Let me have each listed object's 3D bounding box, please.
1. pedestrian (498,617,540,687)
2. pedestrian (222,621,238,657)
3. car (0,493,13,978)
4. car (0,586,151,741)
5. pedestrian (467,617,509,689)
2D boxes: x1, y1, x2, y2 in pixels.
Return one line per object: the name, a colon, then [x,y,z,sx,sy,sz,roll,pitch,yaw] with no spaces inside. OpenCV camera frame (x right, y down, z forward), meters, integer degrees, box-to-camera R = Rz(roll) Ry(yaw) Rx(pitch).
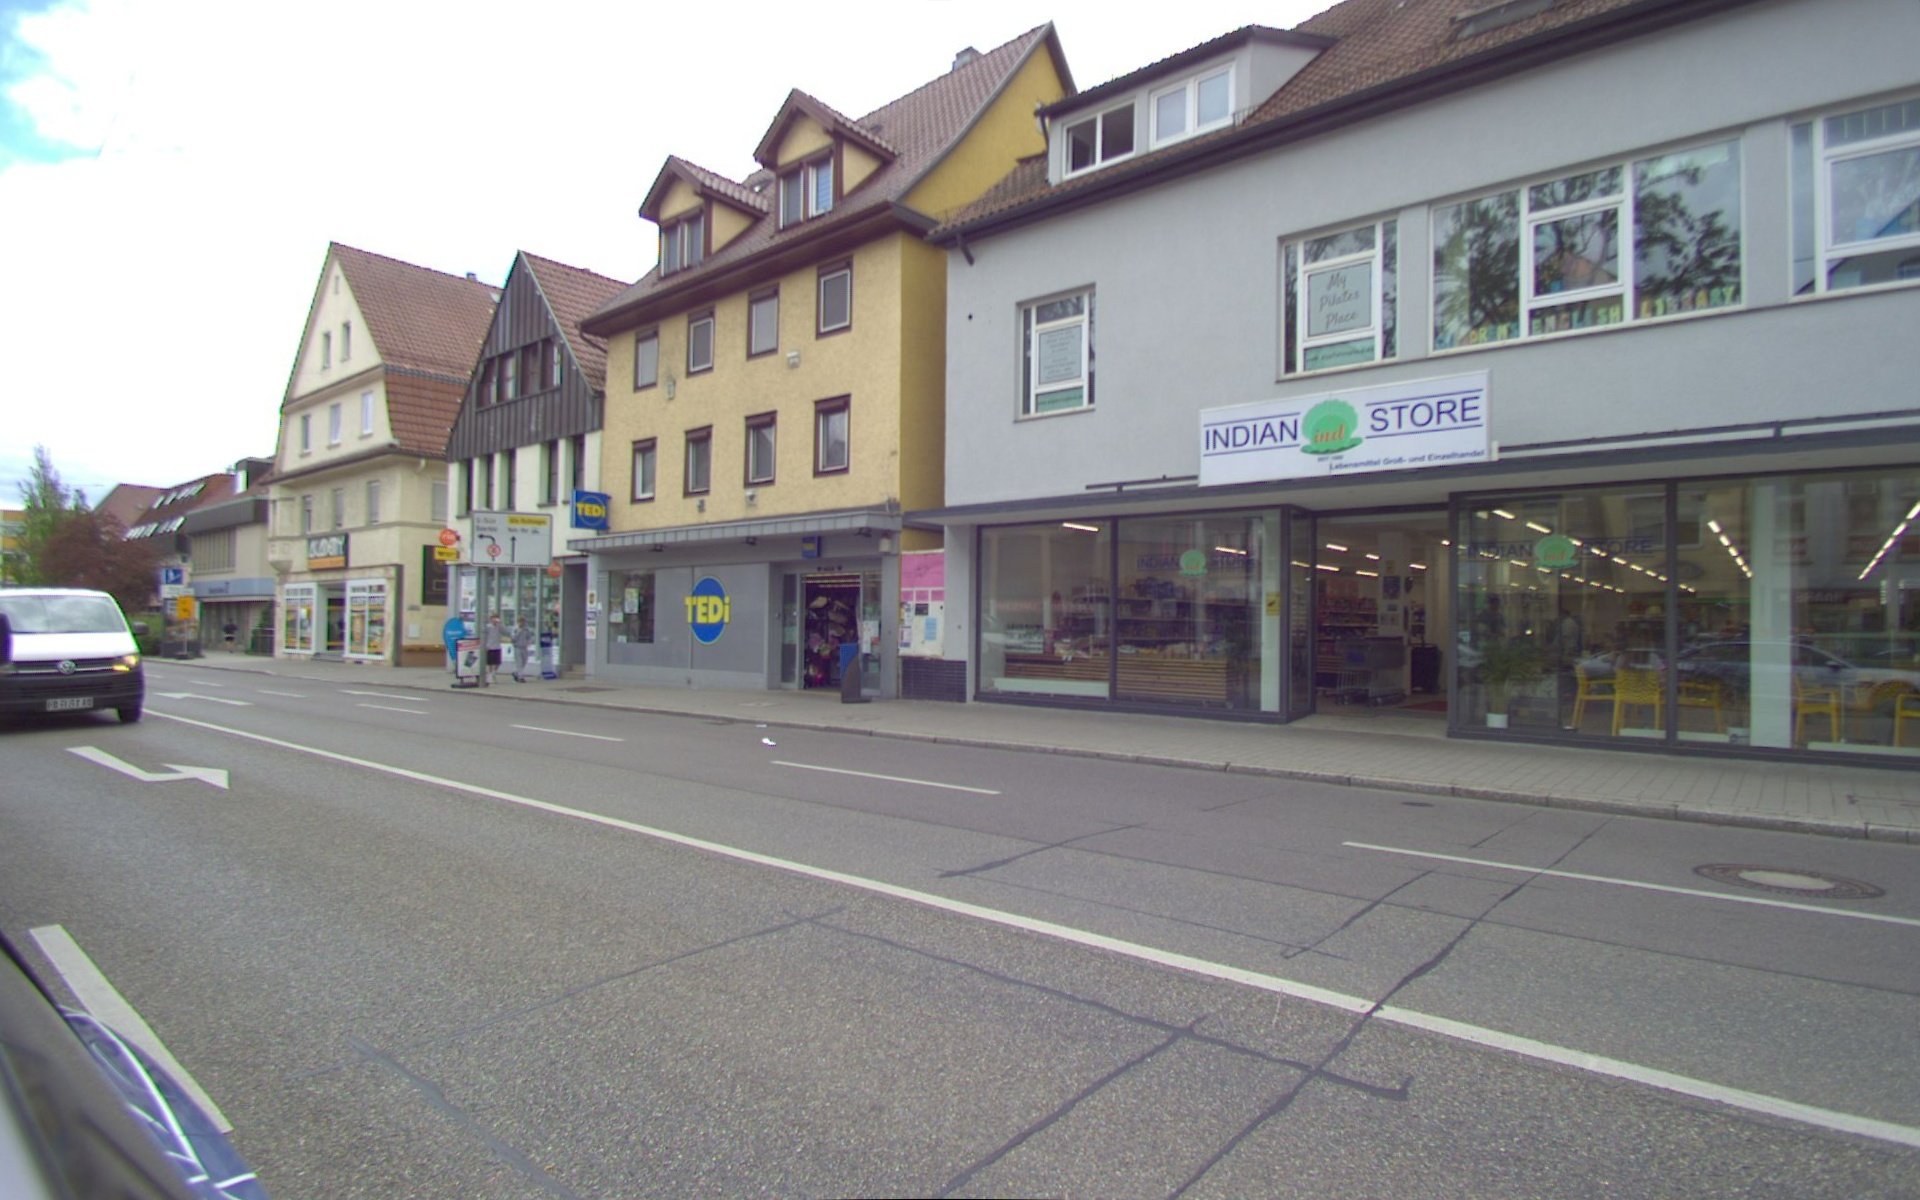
pedestrian: [-11.003,1.282,25.271,0.709,1.683,0.681,-2,0,41]
pedestrian: [-38.685,2.075,53.633,0.592,1.903,0.544,-2,-1,37]
car: [-6.469,0.605,5.088,5.161,1.974,1.939,-1,0,41]
car: [-13.659,0.873,14.985,4.850,1.974,1.806,-2,-2,41]
pedestrian: [-11.501,1.280,24.665,0.742,1.703,0.680,-2,-1,41]
